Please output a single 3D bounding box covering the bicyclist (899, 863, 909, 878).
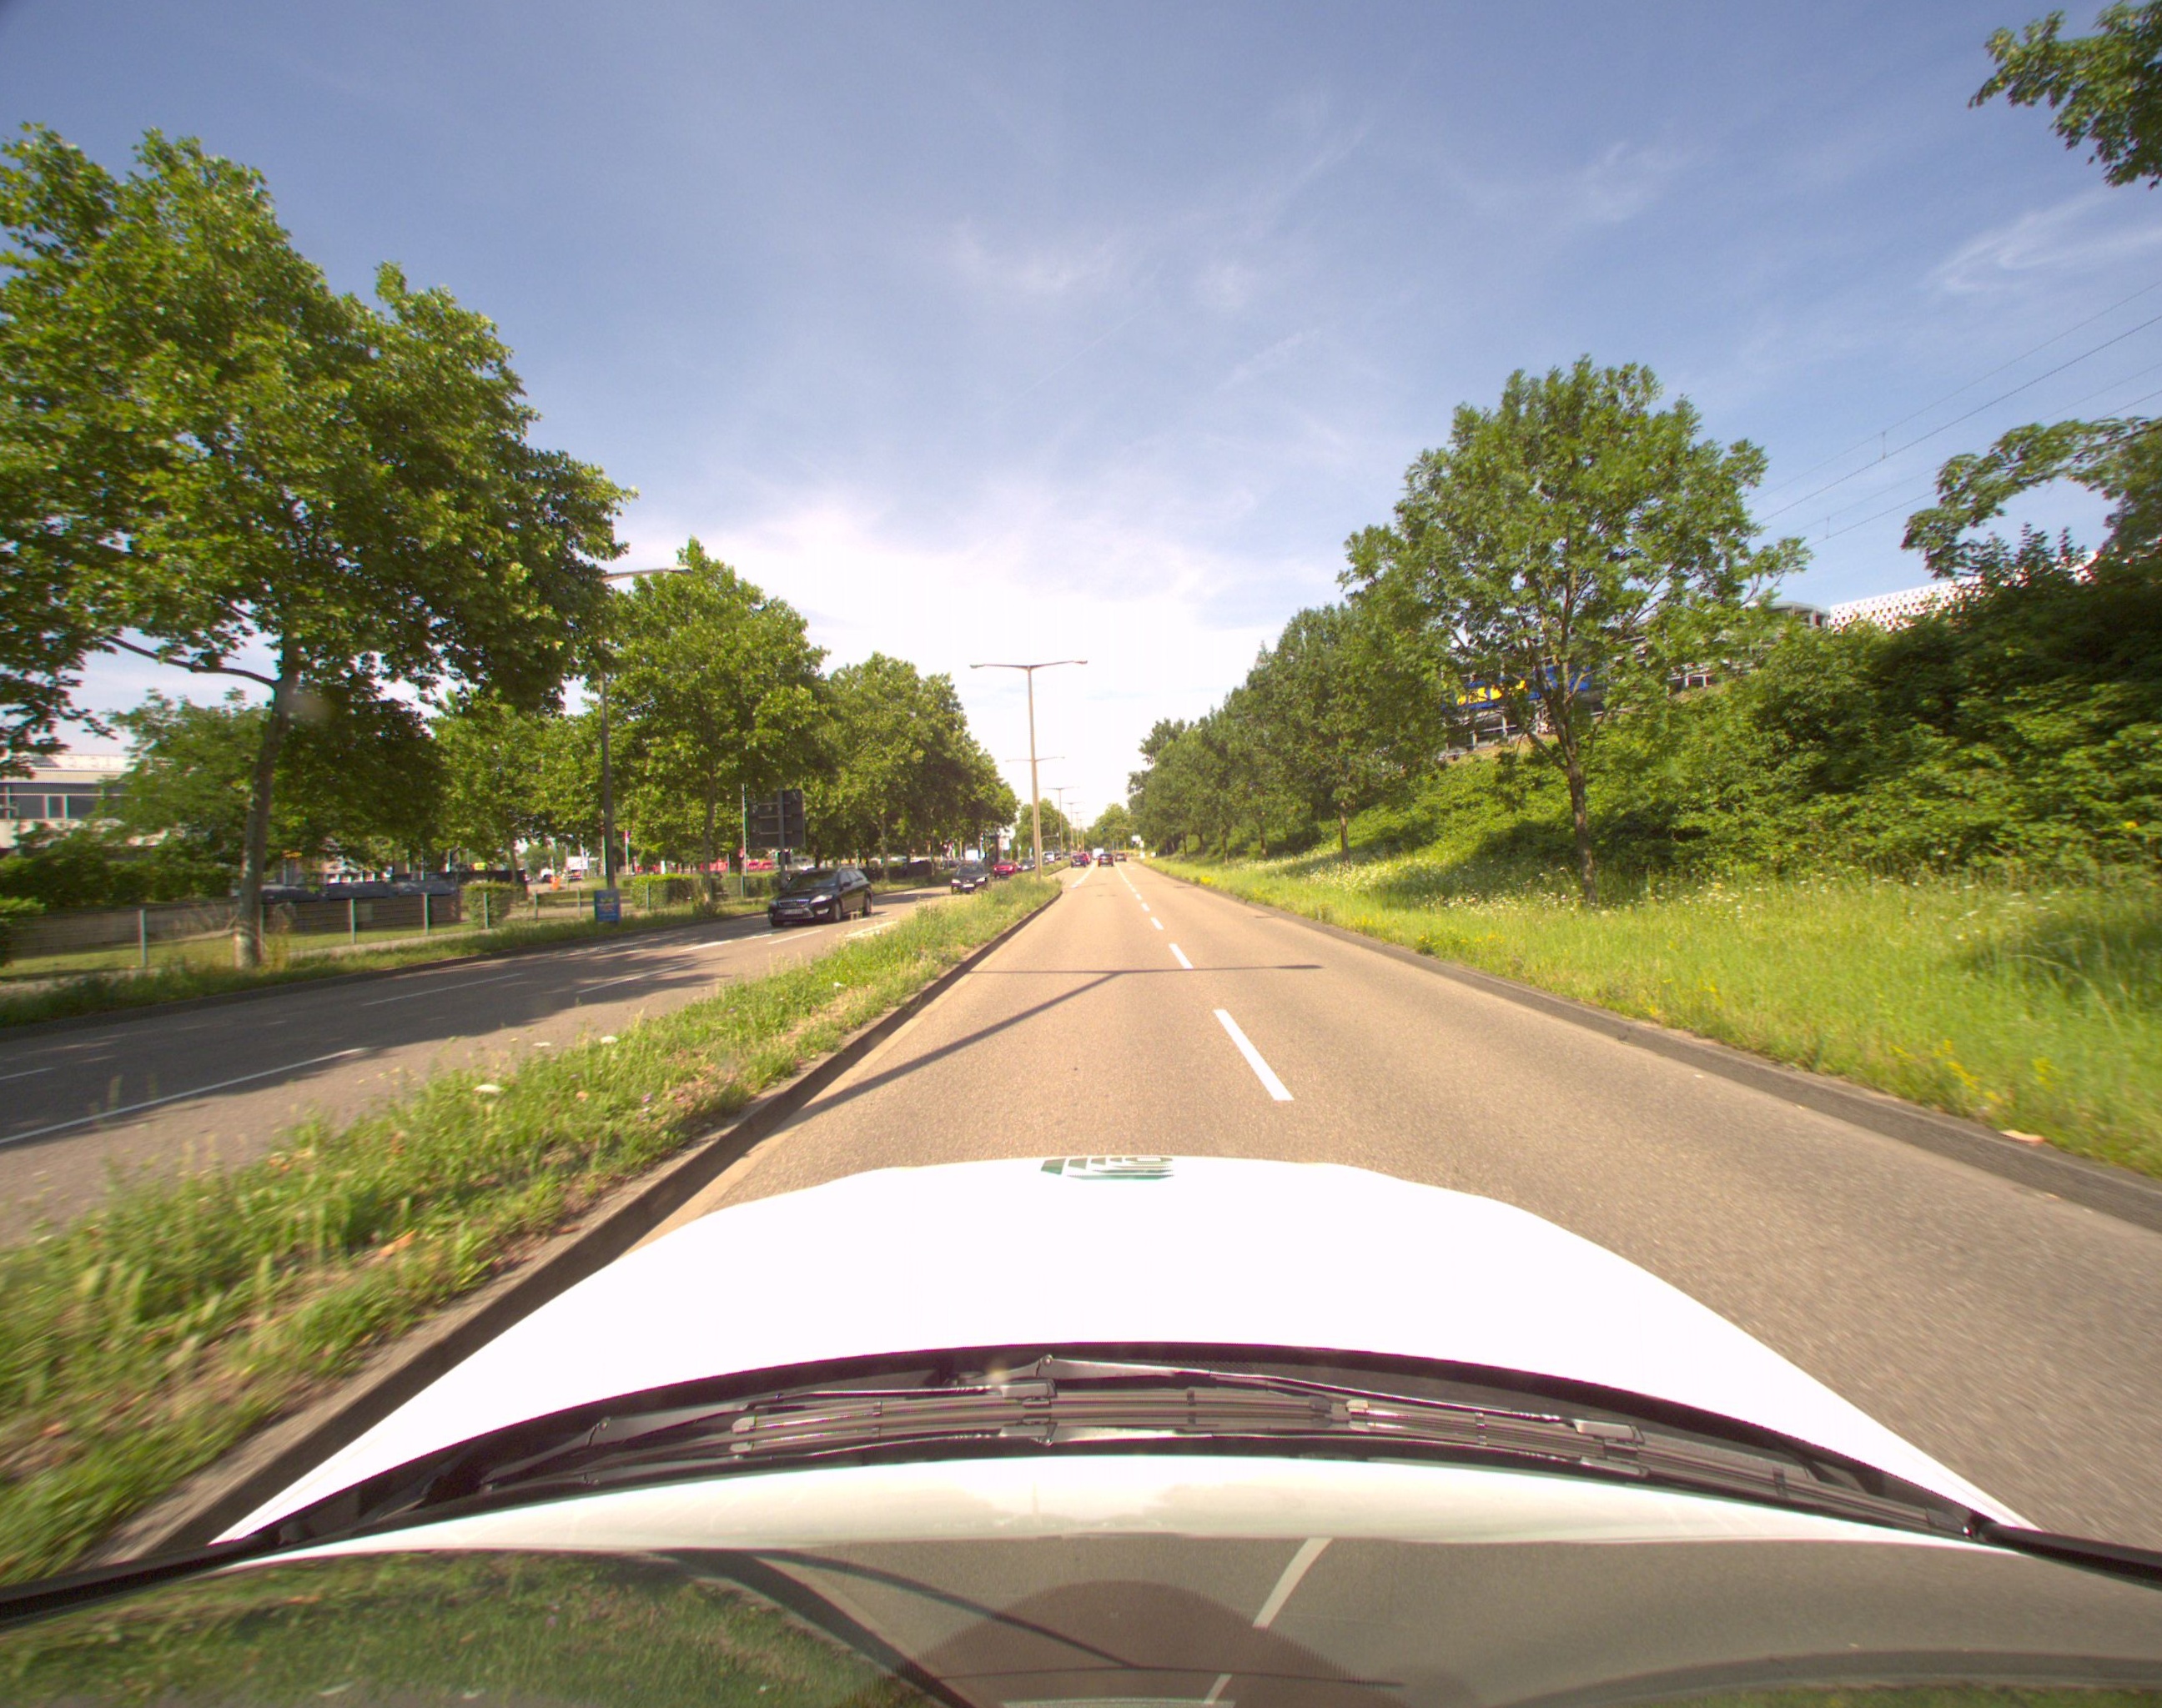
[{"bbox_3d":[-18.034,1.649,82.998,0.679,1.485,0.942,-3,-1,2],"label":"bicyclist"}]

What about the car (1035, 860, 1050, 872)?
[{"bbox_3d":[-5.218,1.639,111.601,1.762,1.469,4.284,-3,0,1],"label":"car"}]

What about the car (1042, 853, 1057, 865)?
[{"bbox_3d":[-5.192,0.794,136.422,2.110,1.883,5.419,-3,0,1],"label":"car"}]

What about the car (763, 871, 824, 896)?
[{"bbox_3d":[-22.882,2.343,64.868,3.968,1.823,2.159,-2,-1,5],"label":"car"}]

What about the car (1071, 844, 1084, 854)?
[{"bbox_3d":[-0.555,-0.833,138.882,1.986,1.708,4.265,-2,0,2],"label":"car"}]

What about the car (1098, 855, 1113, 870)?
[{"bbox_3d":[2.902,1.024,97.408,1.730,1.535,4.003,-2,2,2],"label":"car"}]

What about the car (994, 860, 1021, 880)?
[{"bbox_3d":[-6.261,1.346,69.812,1.756,1.462,4.002,-4,0,2],"label":"car"}]

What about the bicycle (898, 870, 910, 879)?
[{"bbox_3d":[-18.006,2.078,82.980,0.687,0.866,1.927,-3,0,2],"label":"bicycle"}]

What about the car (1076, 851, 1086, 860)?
[{"bbox_3d":[0.007,0.241,177.679,1.985,1.860,4.003,-2,0,3],"label":"car"}]

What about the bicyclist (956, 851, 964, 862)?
[{"bbox_3d":[-19.760,0.391,133.071,0.904,1.715,0.774,-3,2,-34],"label":"bicyclist"}]

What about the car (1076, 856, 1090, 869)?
[{"bbox_3d":[0.238,1.108,109.799,1.776,1.593,4.594,-1,0,1],"label":"car"}]

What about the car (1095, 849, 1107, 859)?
[{"bbox_3d":[3.707,-0.015,150.286,1.986,1.708,4.265,-2,0,2],"label":"car"}]

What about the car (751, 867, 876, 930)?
[{"bbox_3d":[-7.424,1.159,23.159,1.821,1.467,4.987,-3,0,0],"label":"car"}]

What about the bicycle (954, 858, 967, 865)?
[{"bbox_3d":[-19.648,1.234,133.156,1.962,0.983,0.781,-3,2,-35],"label":"bicycle"}]

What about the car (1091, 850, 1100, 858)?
[{"bbox_3d":[3.117,-0.023,175.050,1.927,1.647,4.002,-2,0,2],"label":"car"}]

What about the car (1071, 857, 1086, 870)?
[{"bbox_3d":[-0.320,1.090,94.074,1.620,1.483,4.049,-1,0,1],"label":"car"}]

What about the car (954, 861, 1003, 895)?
[{"bbox_3d":[-4.961,1.132,39.935,1.767,1.467,4.669,-3,0,-1],"label":"car"}]

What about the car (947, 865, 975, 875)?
[{"bbox_3d":[-18.203,2.418,123.616,3.949,1.388,1.776,-2,1,28],"label":"car"}]

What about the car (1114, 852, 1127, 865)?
[{"bbox_3d":[6.342,0.704,131.172,2.010,1.837,4.003,-2,2,2],"label":"car"}]

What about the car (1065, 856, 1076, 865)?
[{"bbox_3d":[-2.418,1.466,184.742,1.985,1.775,4.004,-3,0,4],"label":"car"}]

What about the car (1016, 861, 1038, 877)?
[{"bbox_3d":[-5.538,1.557,84.236,1.833,1.478,4.167,-3,0,1],"label":"car"}]

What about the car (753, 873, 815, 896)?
[{"bbox_3d":[-22.434,2.321,61.651,3.971,1.464,1.773,-3,0,2],"label":"car"}]

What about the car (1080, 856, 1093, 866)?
[{"bbox_3d":[0.921,1.128,130.417,1.874,1.618,4.213,-2,0,1],"label":"car"}]

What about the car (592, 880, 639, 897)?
[{"bbox_3d":[-46.430,3.432,81.248,3.955,1.504,1.814,-1,2,17],"label":"car"}]

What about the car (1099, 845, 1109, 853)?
[{"bbox_3d":[5.654,-1.246,201.672,1.988,2.013,3.997,-2,0,-2],"label":"car"}]

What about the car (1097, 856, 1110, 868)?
[{"bbox_3d":[3.573,1.228,127.628,1.986,1.744,4.267,-3,0,2],"label":"car"}]

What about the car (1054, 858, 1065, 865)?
[{"bbox_3d":[-4.418,1.570,171.163,1.986,1.530,4.684,-3,0,2],"label":"car"}]
